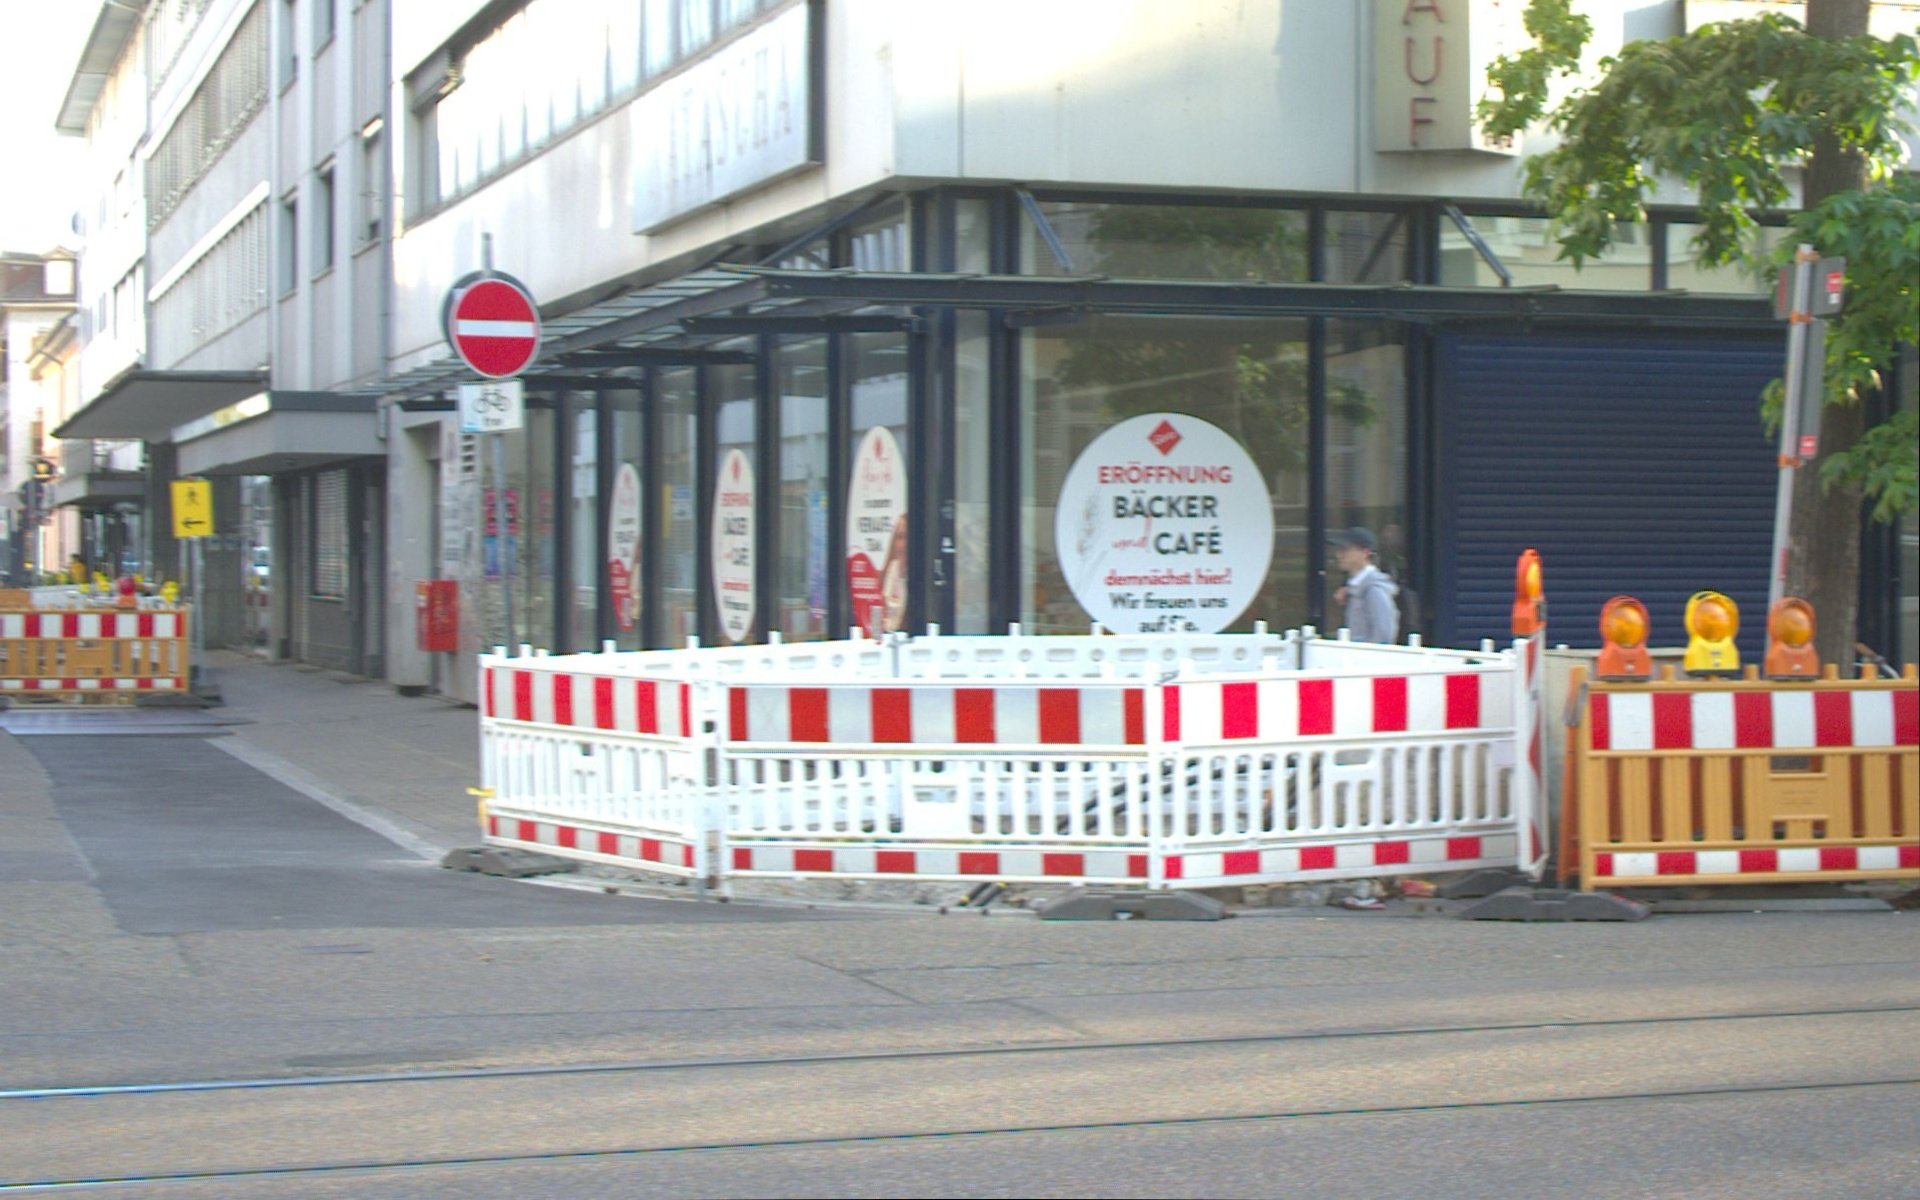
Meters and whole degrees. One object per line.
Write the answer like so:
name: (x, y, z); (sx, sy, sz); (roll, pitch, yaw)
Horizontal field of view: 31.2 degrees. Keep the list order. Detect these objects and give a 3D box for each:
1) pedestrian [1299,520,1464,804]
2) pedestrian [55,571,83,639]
pedestrian: (2.359, 0.335, 19.254); (0.704, 1.544, 0.579); (-2, 1, -20)
pedestrian: (-19.348, 0.110, 74.645); (0.523, 1.459, 0.718); (0, 1, -9)
